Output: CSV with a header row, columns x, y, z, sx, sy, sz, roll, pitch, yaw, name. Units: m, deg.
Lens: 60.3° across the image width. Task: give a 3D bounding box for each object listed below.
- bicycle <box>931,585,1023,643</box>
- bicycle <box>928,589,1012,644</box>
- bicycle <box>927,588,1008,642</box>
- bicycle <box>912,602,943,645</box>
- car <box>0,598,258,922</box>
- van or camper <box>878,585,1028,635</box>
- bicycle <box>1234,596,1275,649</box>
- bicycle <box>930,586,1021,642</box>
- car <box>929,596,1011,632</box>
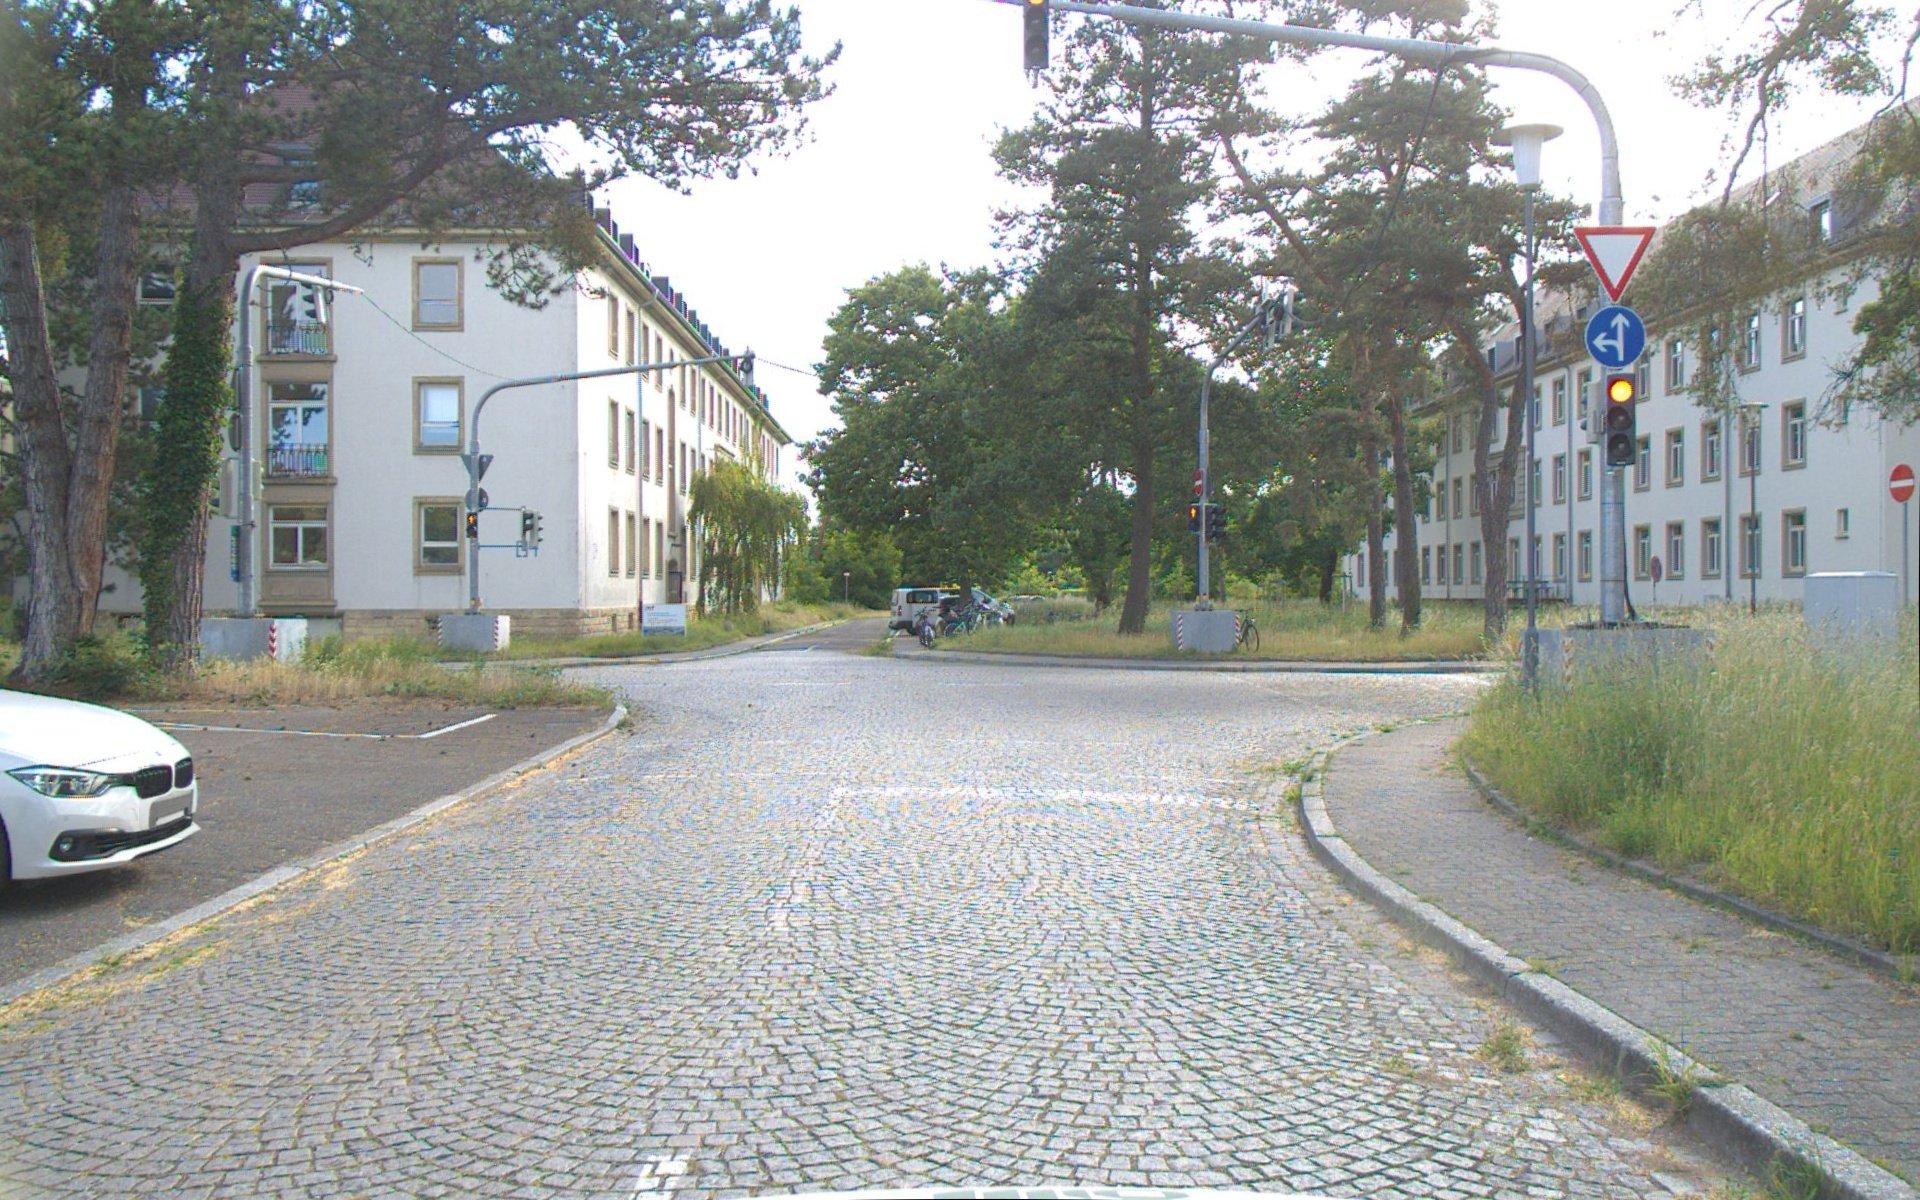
x,y,z,sx,sy,sz,roll,pitch,yaw,name
0.512,0.415,50.652,2.722,1.724,1.118,0,0,-7,bicycle
0.358,0.535,55.409,2.718,1.723,1.120,2,0,3,bicycle
0.254,0.518,56.745,2.719,1.723,1.120,2,0,0,bicycle
-0.891,0.646,46.345,0.711,1.127,2.462,-5,0,0,bicycle
-6.239,0.692,8.531,4.390,1.467,1.828,2,0,-5,car
-0.299,0.408,68.608,5.931,1.983,1.992,0,0,-15,van or camper
6.918,0.516,38.977,0.708,1.189,2.738,1,0,5,bicycle
0.468,0.441,51.846,2.724,1.724,1.118,0,0,-9,bicycle
0.374,0.532,65.043,3.078,1.378,1.618,0,0,-7,car
